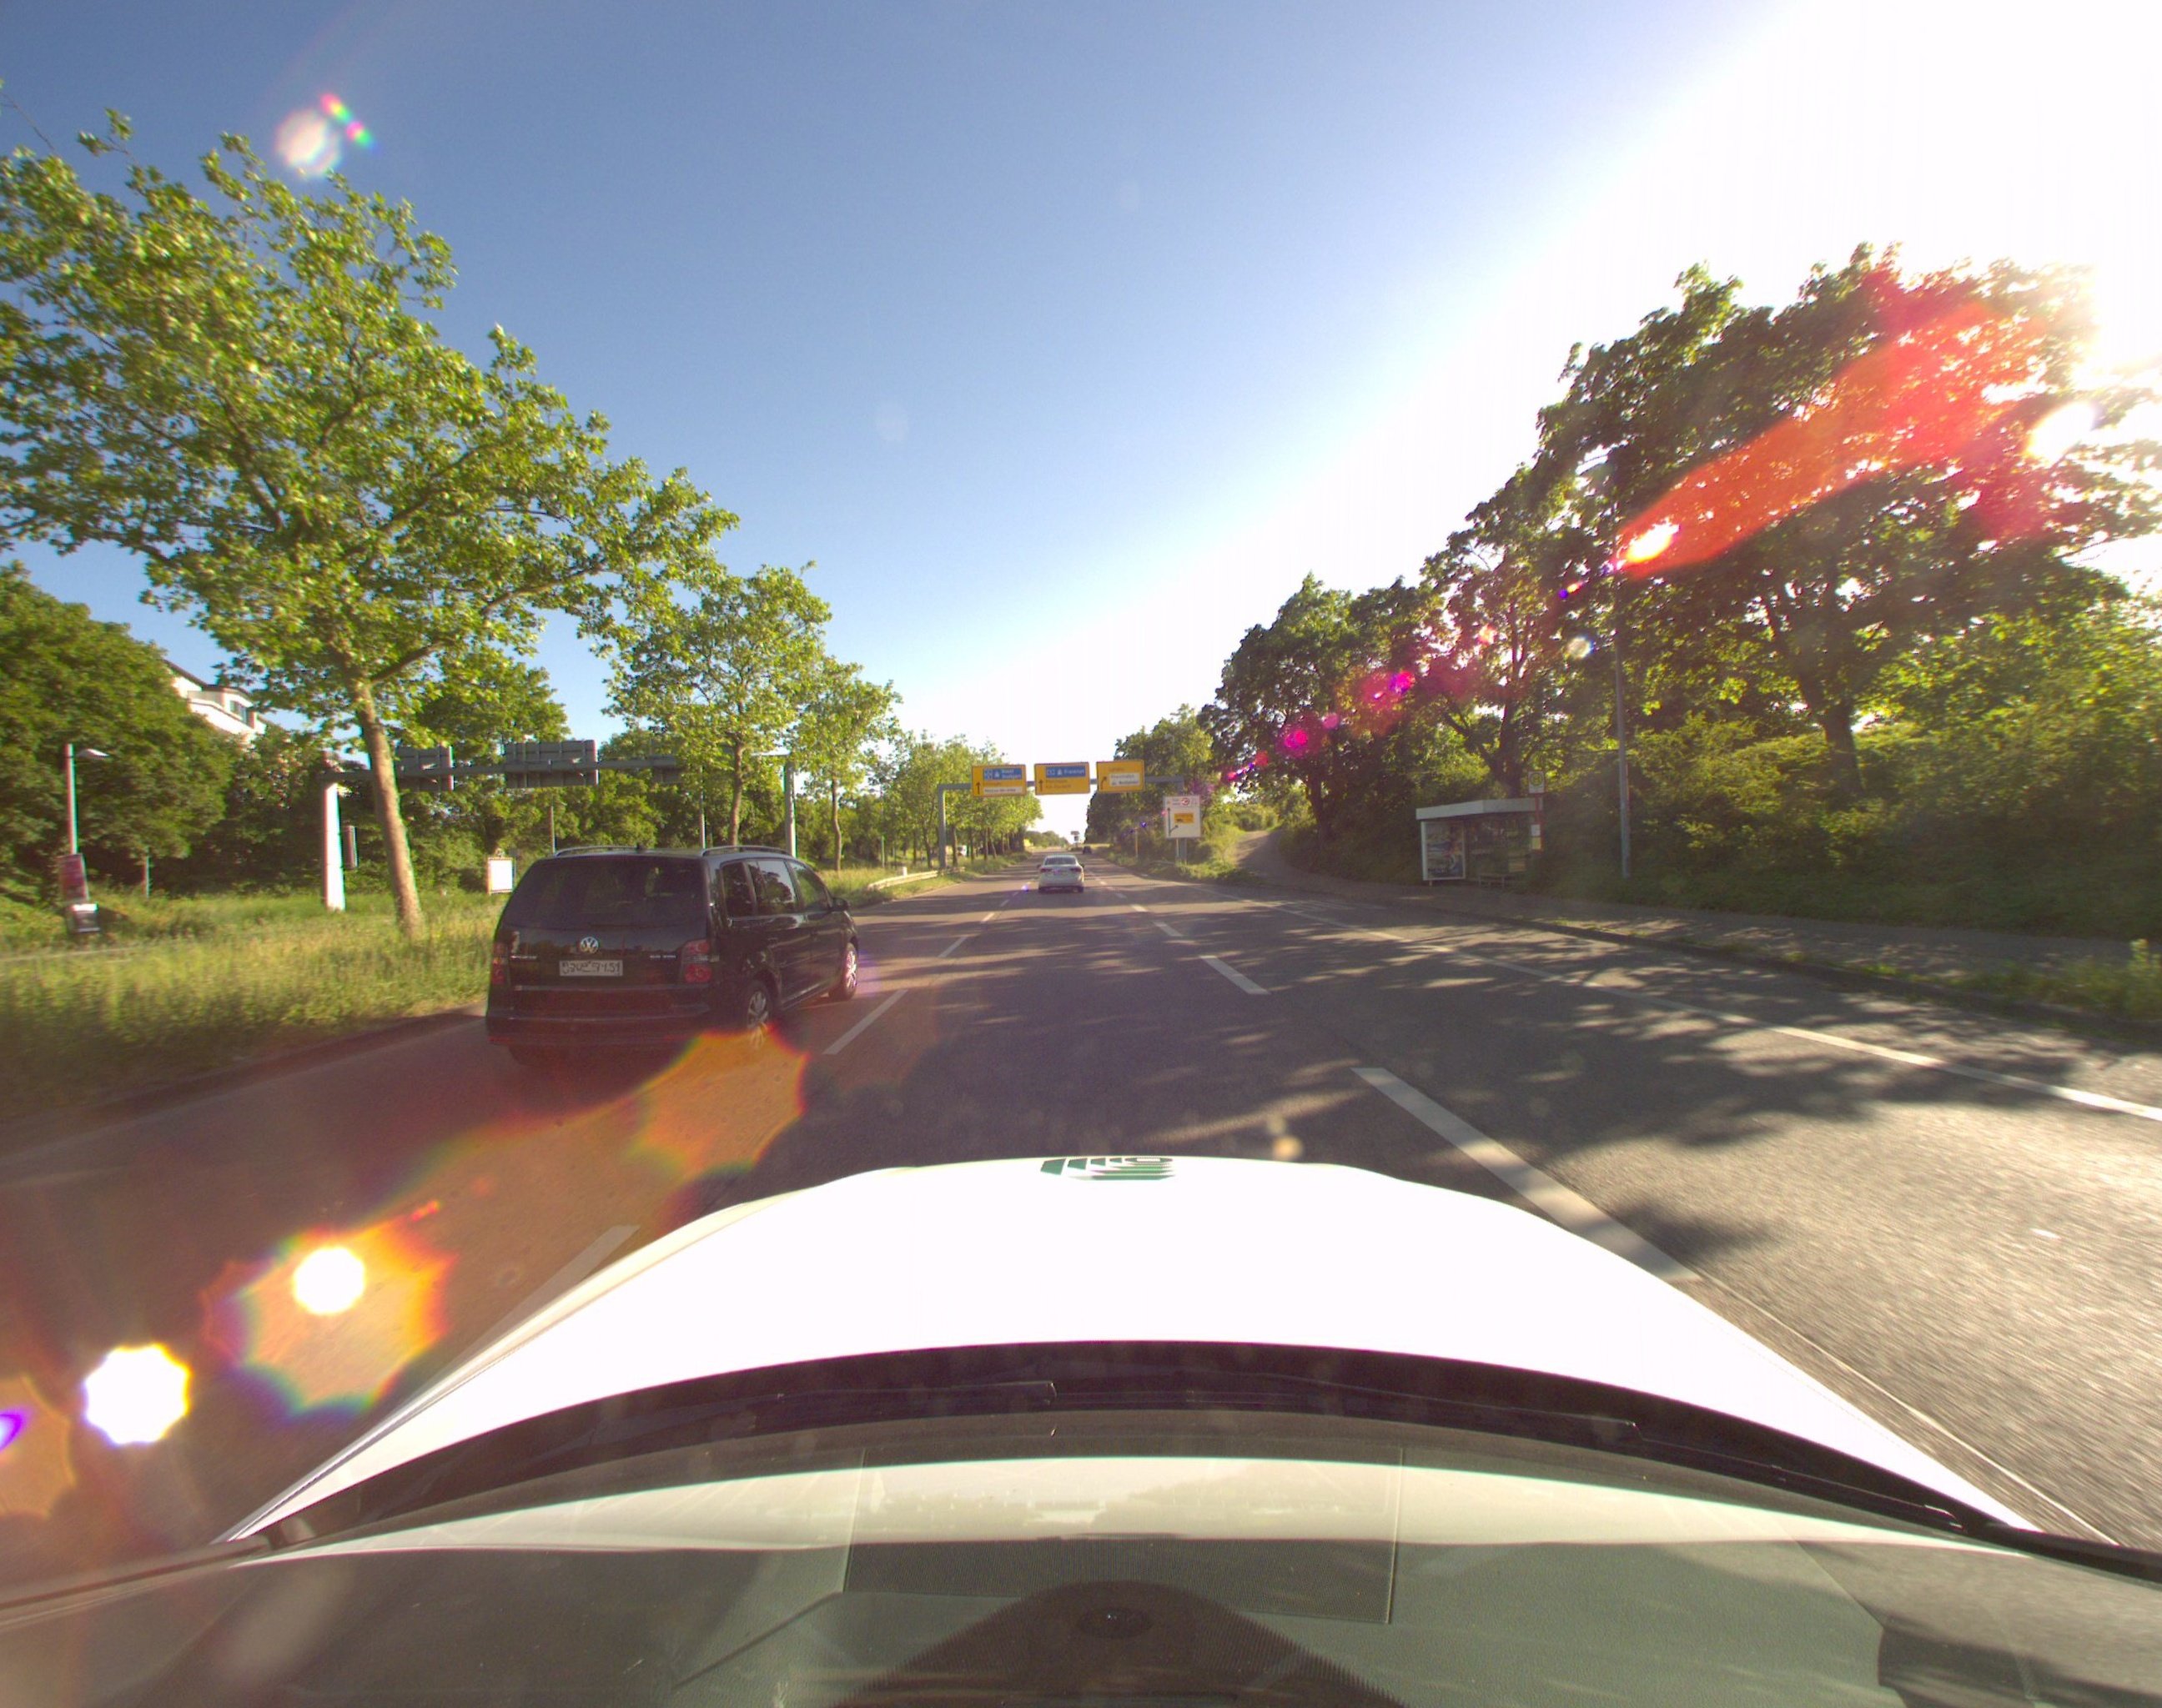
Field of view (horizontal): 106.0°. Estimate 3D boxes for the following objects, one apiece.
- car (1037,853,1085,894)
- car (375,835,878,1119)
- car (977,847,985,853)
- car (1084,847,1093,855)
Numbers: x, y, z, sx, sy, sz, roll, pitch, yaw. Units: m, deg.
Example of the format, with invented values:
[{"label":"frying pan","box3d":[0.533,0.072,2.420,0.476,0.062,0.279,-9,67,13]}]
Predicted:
[{"label":"car","box3d":[-0.805,0.746,33.189,1.762,1.464,4.364,-2,0,-1]},{"label":"car","box3d":[-3.298,0.722,7.279,1.762,1.644,4.921,-1,0,-1]},{"label":"car","box3d":[-25.699,-1.078,209.515,1.762,1.464,4.364,-2,0,-1]},{"label":"car","box3d":[1.449,-0.640,162.167,1.762,1.464,4.366,-2,0,0]}]
